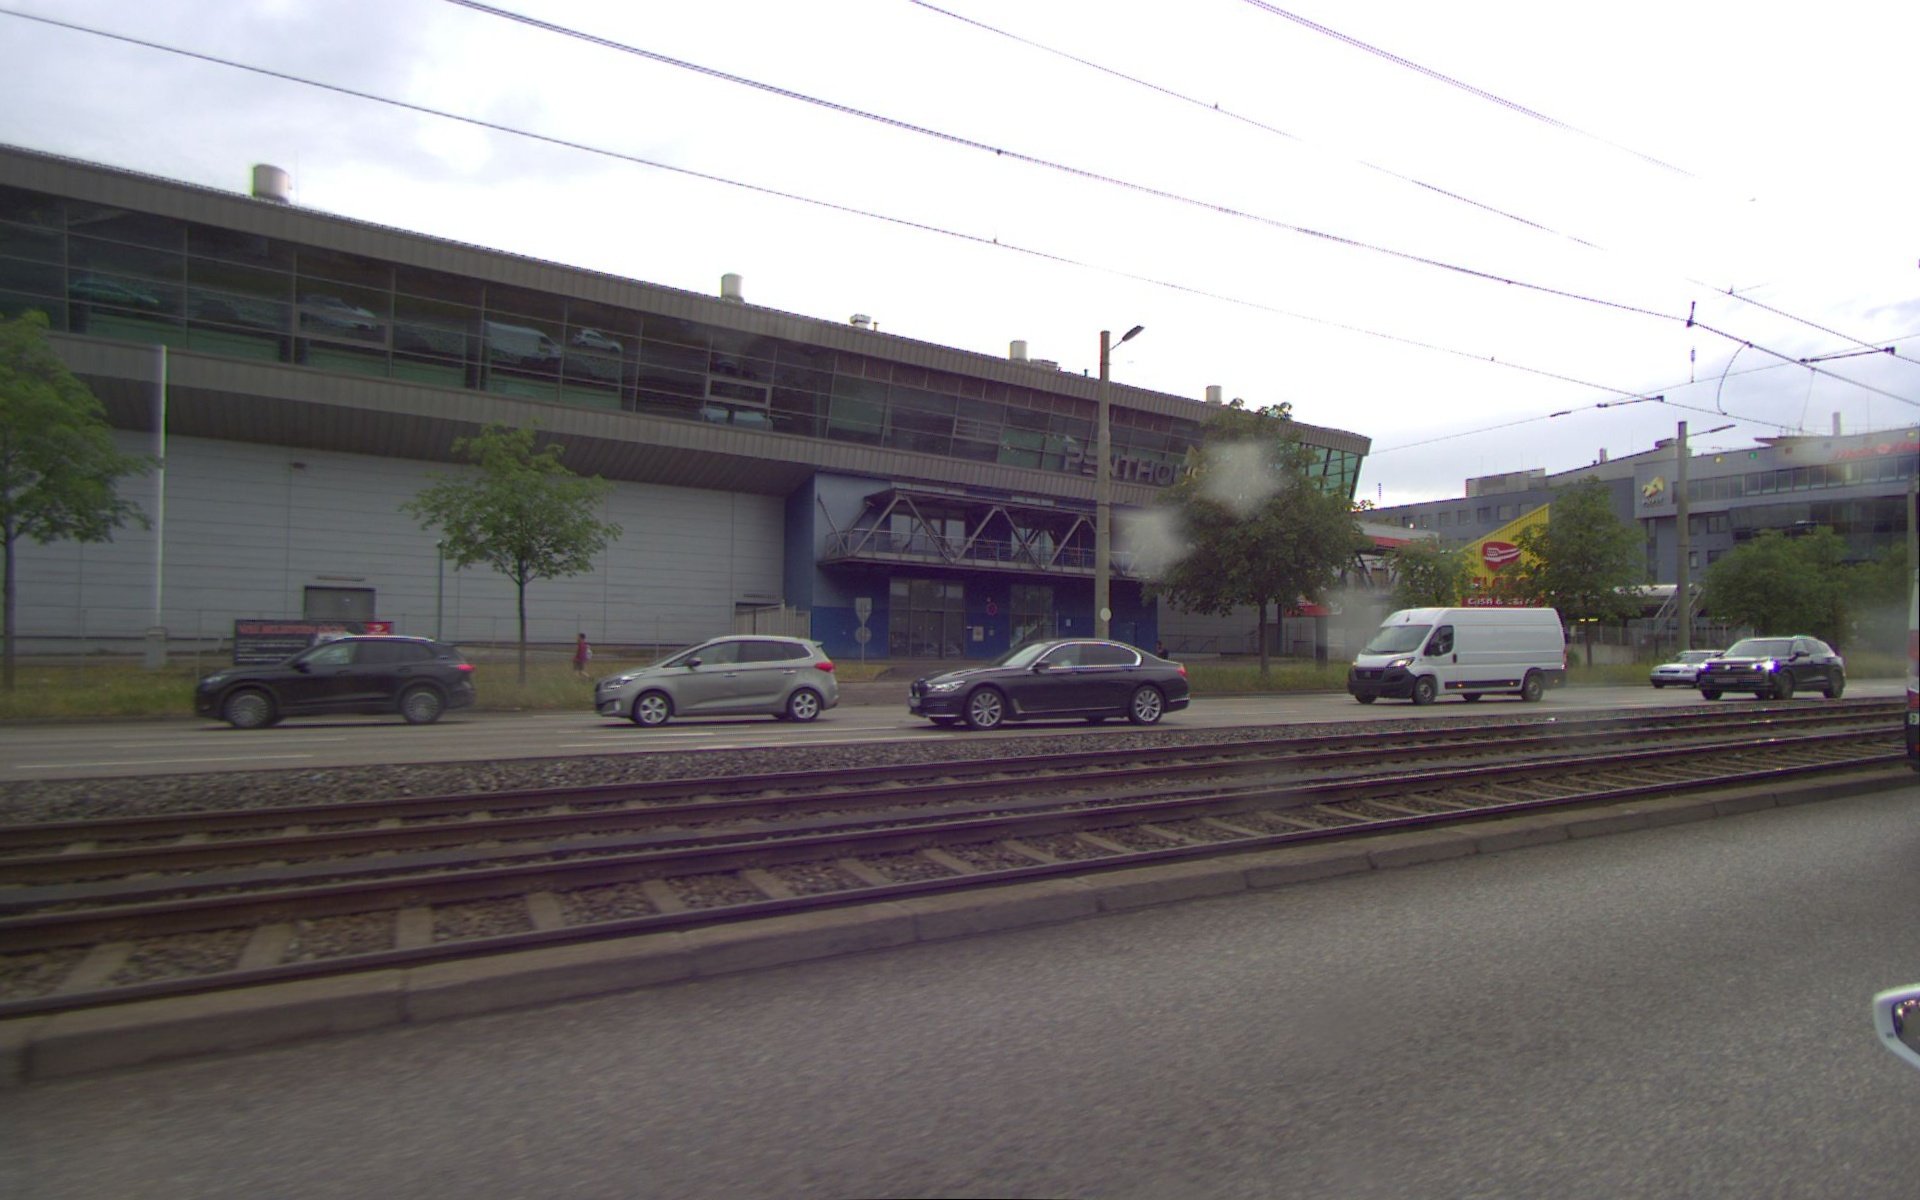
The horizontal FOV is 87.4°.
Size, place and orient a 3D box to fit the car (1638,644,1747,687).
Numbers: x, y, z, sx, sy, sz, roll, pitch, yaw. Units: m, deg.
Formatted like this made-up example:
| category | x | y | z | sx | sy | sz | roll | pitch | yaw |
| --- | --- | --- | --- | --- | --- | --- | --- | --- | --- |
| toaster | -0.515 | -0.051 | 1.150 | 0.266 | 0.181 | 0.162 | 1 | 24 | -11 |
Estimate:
| category | x | y | z | sx | sy | sz | roll | pitch | yaw |
| --- | --- | --- | --- | --- | --- | --- | --- | --- | --- |
| car | 27.538 | 2.429 | 37.752 | 3.949 | 1.418 | 1.741 | 1 | 0 | -27 |

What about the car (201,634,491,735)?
| category | x | y | z | sx | sy | sz | roll | pitch | yaw |
| --- | --- | --- | --- | --- | --- | --- | --- | --- | --- |
| car | -11.335 | 1.511 | 18.930 | 4.418 | 1.705 | 1.986 | 1 | -3 | -28 |

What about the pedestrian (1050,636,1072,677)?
| category | x | y | z | sx | sy | sz | roll | pitch | yaw |
| --- | --- | --- | --- | --- | --- | --- | --- | --- | --- |
| pedestrian | 3.778 | 2.107 | 37.544 | 0.648 | 1.475 | 0.506 | 2 | 0 | -40 |

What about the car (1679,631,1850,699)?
| category | x | y | z | sx | sy | sz | roll | pitch | yaw |
| --- | --- | --- | --- | --- | --- | --- | --- | --- | --- |
| car | 21.301 | 1.700 | 26.575 | 4.305 | 1.678 | 1.902 | 1 | -4 | -28 |

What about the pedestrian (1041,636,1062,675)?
| category | x | y | z | sx | sy | sz | roll | pitch | yaw |
| --- | --- | --- | --- | --- | --- | --- | --- | --- | --- |
| pedestrian | 3.465 | 2.100 | 38.116 | 0.648 | 1.475 | 0.447 | 2 | 0 | -40 |

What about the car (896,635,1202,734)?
| category | x | y | z | sx | sy | sz | roll | pitch | yaw |
| --- | --- | --- | --- | --- | --- | --- | --- | --- | --- |
| car | 1.547 | 1.387 | 17.239 | 4.925 | 1.503 | 1.943 | 1 | -3 | -24 |

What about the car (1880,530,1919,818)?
| category | x | y | z | sx | sy | sz | roll | pitch | yaw |
| --- | --- | --- | --- | --- | --- | --- | --- | --- | --- |
| car | 9.979 | 0.634 | 8.278 | 5.000 | 2.226 | 2.081 | 1 | 1 | -30 |

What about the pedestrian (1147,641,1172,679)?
| category | x | y | z | sx | sy | sz | roll | pitch | yaw |
| --- | --- | --- | --- | --- | --- | --- | --- | --- | --- |
| pedestrian | 8.014 | 2.406 | 40.264 | 0.737 | 1.458 | 0.604 | 2 | 0 | -34 |

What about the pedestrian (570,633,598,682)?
| category | x | y | z | sx | sy | sz | roll | pitch | yaw |
| --- | --- | --- | --- | --- | --- | --- | --- | --- | --- |
| pedestrian | -11.958 | 1.825 | 31.979 | 0.748 | 1.517 | 0.546 | 2 | 0 | -27 |

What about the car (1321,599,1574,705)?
| category | x | y | z | sx | sy | sz | roll | pitch | yaw |
| --- | --- | --- | --- | --- | --- | --- | --- | --- | --- |
| car | 12.887 | 1.372 | 26.501 | 6.458 | 2.533 | 2.427 | 1 | -3 | -25 |

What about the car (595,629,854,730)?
| category | x | y | z | sx | sy | sz | roll | pitch | yaw |
| --- | --- | --- | --- | --- | --- | --- | --- | --- | --- |
| car | -4.396 | 1.441 | 18.777 | 4.446 | 1.692 | 1.936 | 1 | -4 | -24 |
